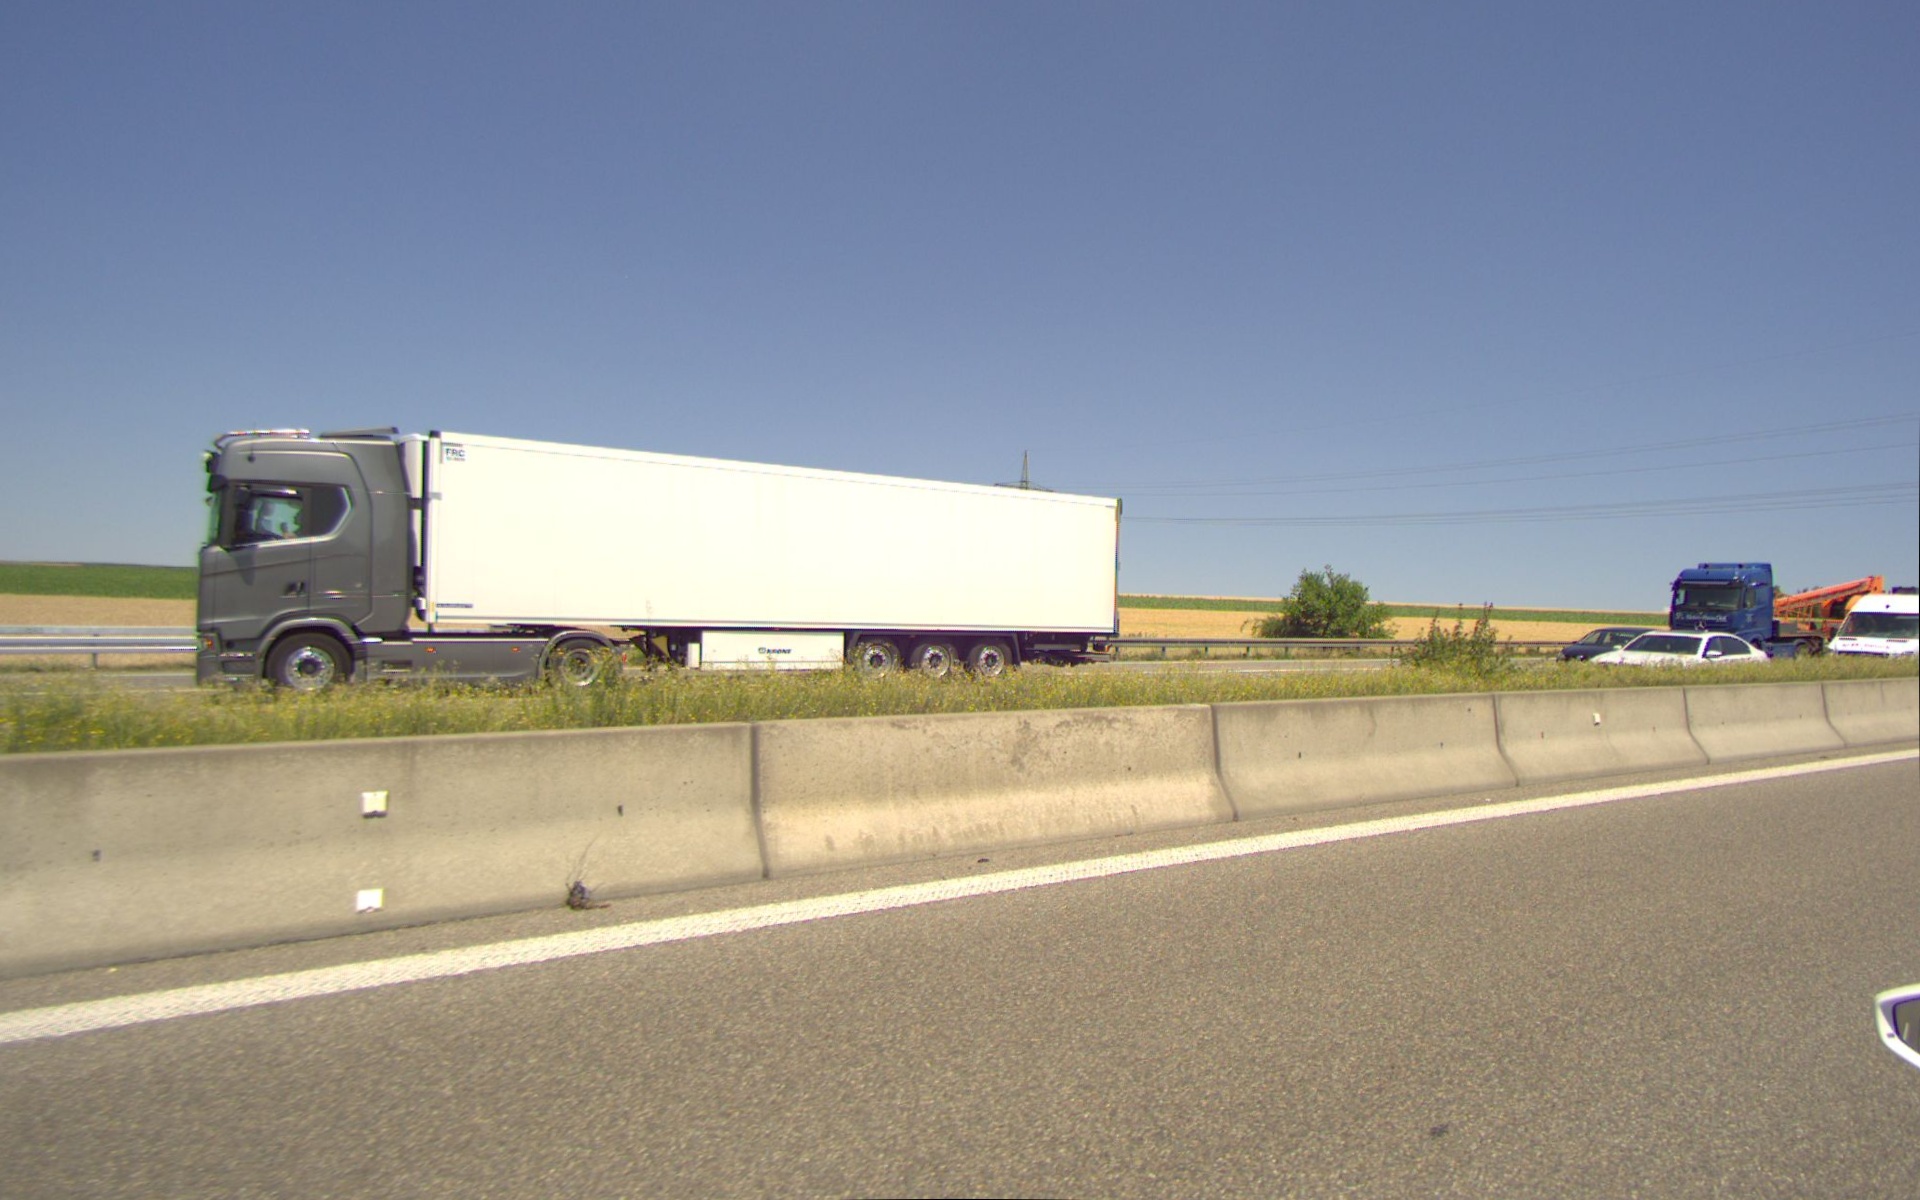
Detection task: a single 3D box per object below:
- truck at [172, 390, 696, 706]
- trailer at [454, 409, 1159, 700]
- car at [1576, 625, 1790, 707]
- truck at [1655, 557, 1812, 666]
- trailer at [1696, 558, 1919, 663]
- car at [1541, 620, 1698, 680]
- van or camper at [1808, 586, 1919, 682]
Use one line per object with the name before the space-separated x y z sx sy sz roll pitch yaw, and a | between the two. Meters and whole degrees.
truck | -8.369 -0.641 16.768 7.043 4.262 3.211 1 0 -30
trailer | -2.361 -0.562 20.299 13.863 4.446 3.226 1 0 -31
car | 16.491 1.440 22.819 5.604 1.608 1.916 2 0 -31
truck | 30.425 0.459 39.472 6.065 3.990 2.763 1 0 -30
trailer | 36.570 0.565 42.959 13.562 4.011 2.826 2 0 -29
car | 18.336 1.367 27.893 4.448 1.499 1.811 2 0 -29
van or camper | 27.271 0.991 28.899 7.431 2.496 2.058 2 -2 -30
